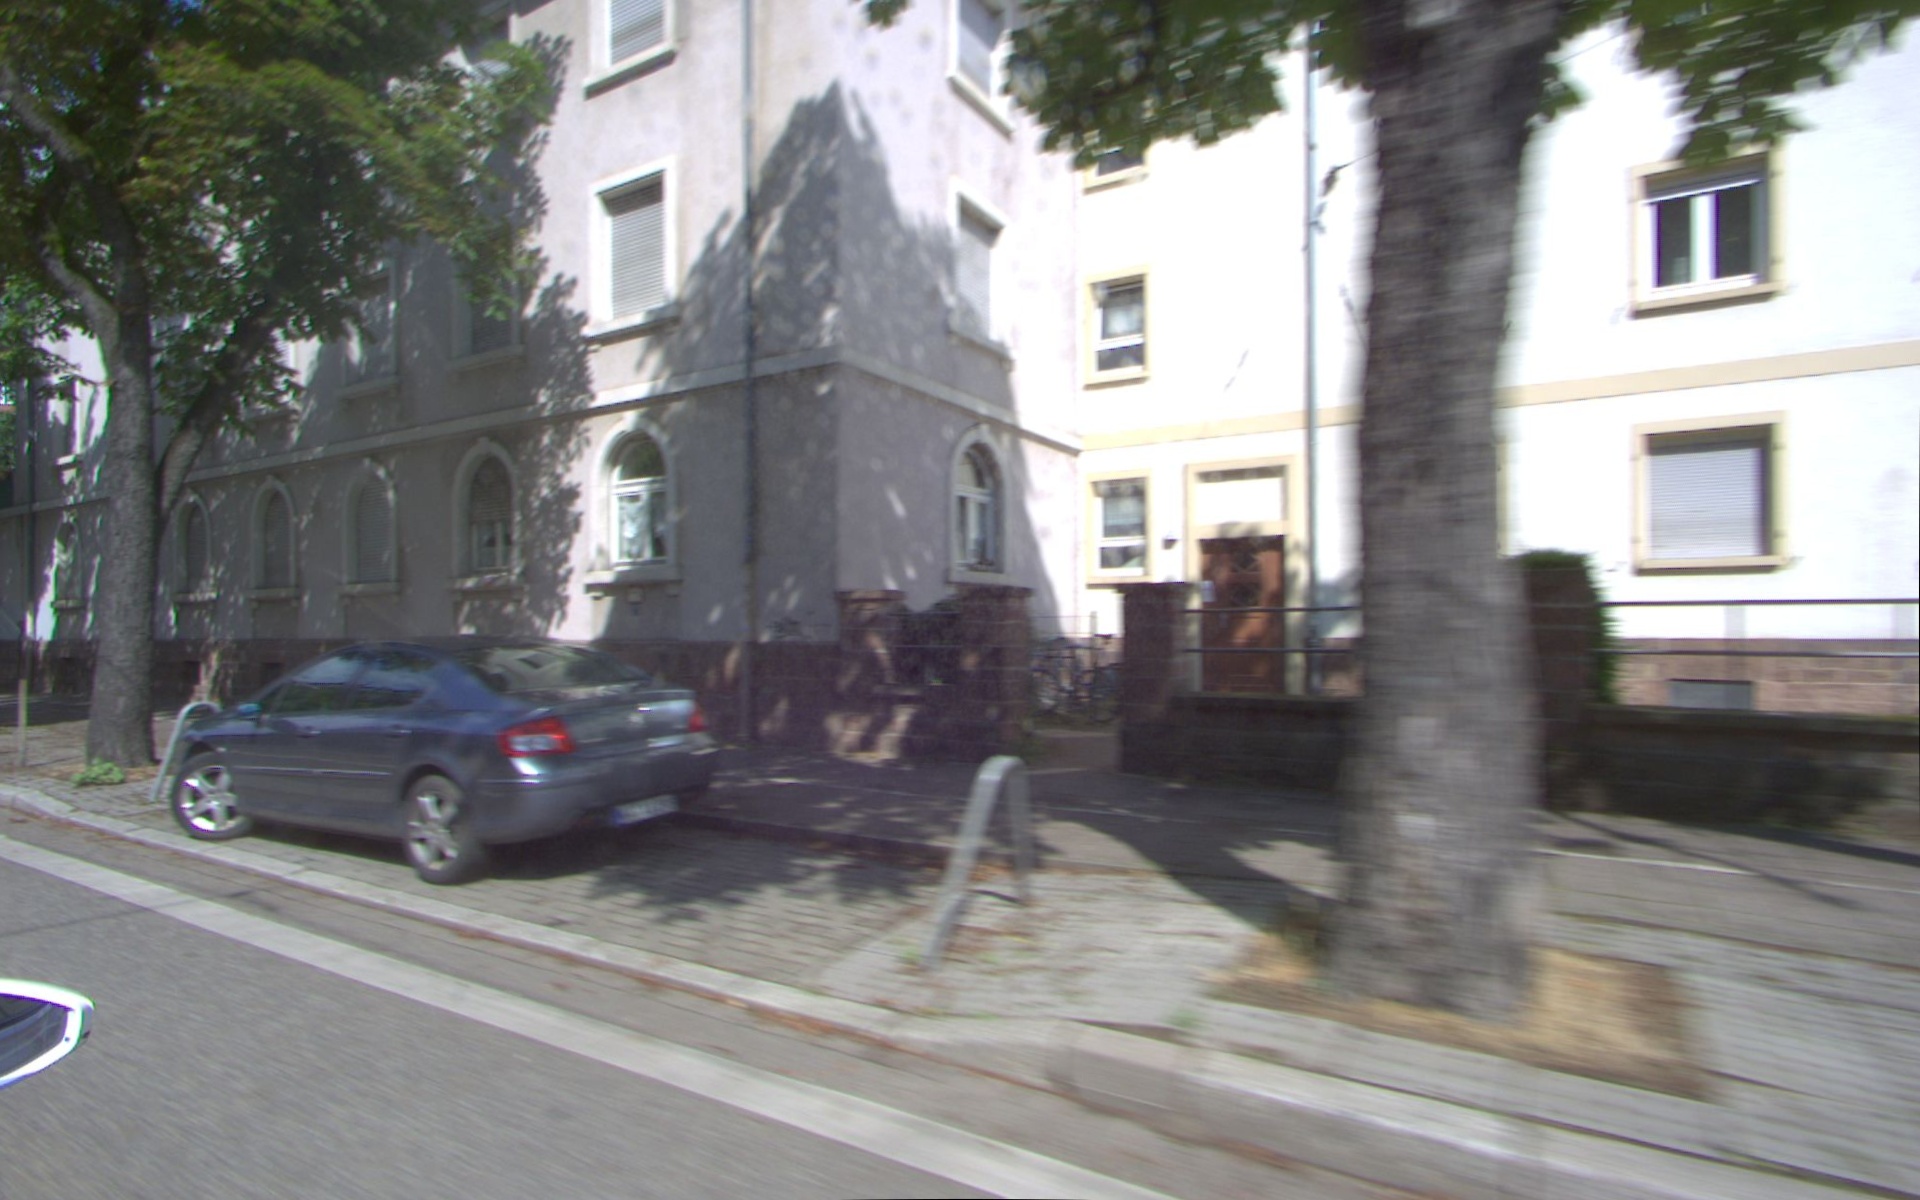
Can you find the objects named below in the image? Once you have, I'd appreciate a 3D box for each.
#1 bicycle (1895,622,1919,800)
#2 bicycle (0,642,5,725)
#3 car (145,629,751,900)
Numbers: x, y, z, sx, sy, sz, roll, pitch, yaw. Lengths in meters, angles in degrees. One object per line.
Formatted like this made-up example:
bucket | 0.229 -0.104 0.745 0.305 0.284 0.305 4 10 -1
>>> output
bicycle | 7.403 0.757 6.654 1.680 1.227 0.411 -1 -1 33
bicycle | -14.649 1.210 13.939 0.508 1.191 1.926 -2 -1 43
car | -3.834 0.978 7.364 4.328 1.428 1.844 -1 0 29
